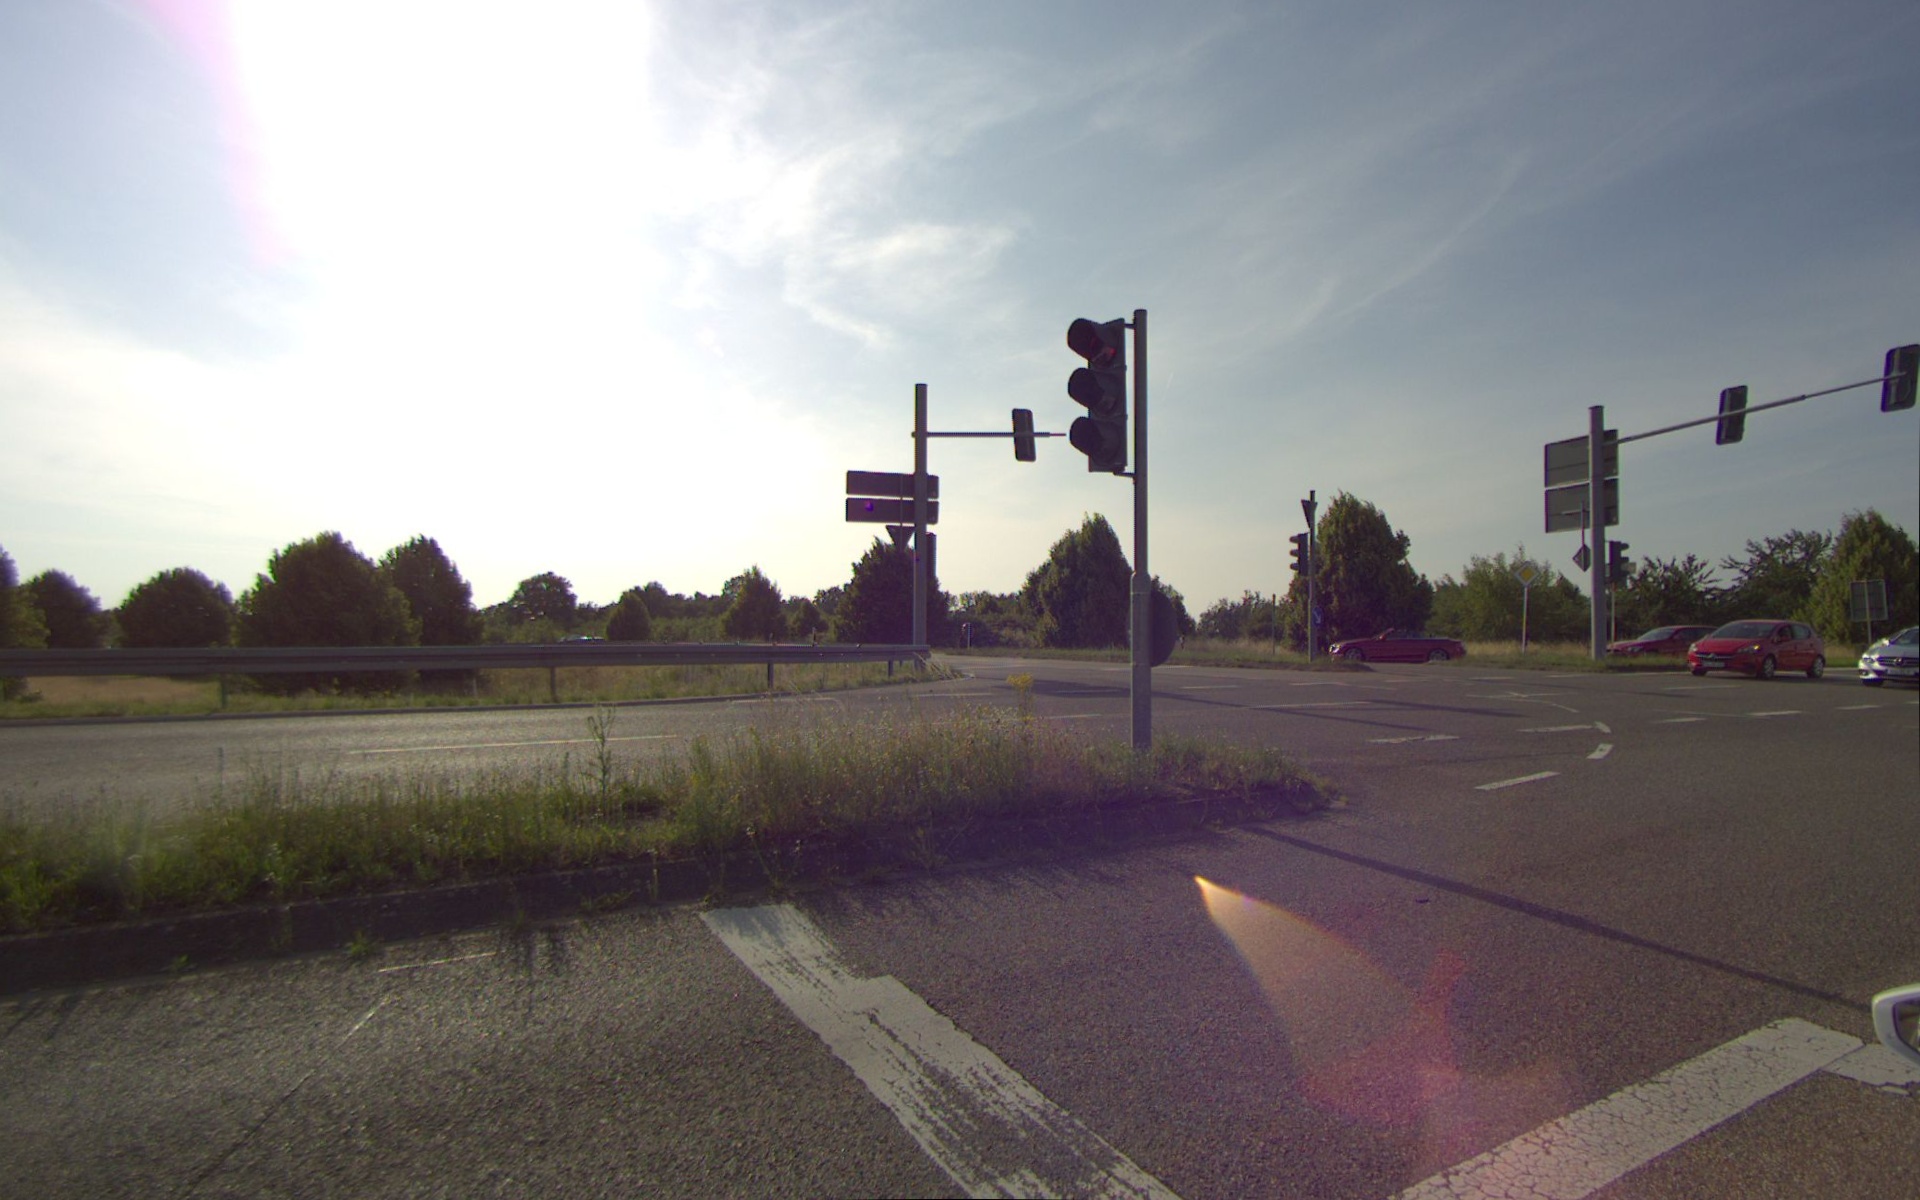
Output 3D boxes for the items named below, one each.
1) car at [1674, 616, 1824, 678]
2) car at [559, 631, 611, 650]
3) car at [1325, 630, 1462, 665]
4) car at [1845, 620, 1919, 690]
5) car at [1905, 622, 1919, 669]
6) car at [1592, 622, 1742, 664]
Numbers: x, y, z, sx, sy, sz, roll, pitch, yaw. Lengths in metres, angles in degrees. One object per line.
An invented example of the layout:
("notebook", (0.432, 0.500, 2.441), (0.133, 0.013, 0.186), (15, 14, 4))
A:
("car", (20.528, 1.202, 26.109), (3.756, 1.507, 1.714), (1, -1, -28))
("car", (-27.423, 2.970, 73.385), (4.598, 1.299, 1.717), (-1, -2, 43))
("car", (15.772, 1.712, 36.813), (4.387, 1.116, 2.001), (0, -1, 16))
("car", (22.401, 1.231, 22.858), (4.589, 1.507, 1.780), (1, -1, -26))
("car", (31.639, 1.424, 31.379), (3.997, 1.452, 1.780), (1, -1, -26))
("car", (24.062, 1.469, 34.232), (4.135, 1.344, 1.662), (1, -1, -7))
